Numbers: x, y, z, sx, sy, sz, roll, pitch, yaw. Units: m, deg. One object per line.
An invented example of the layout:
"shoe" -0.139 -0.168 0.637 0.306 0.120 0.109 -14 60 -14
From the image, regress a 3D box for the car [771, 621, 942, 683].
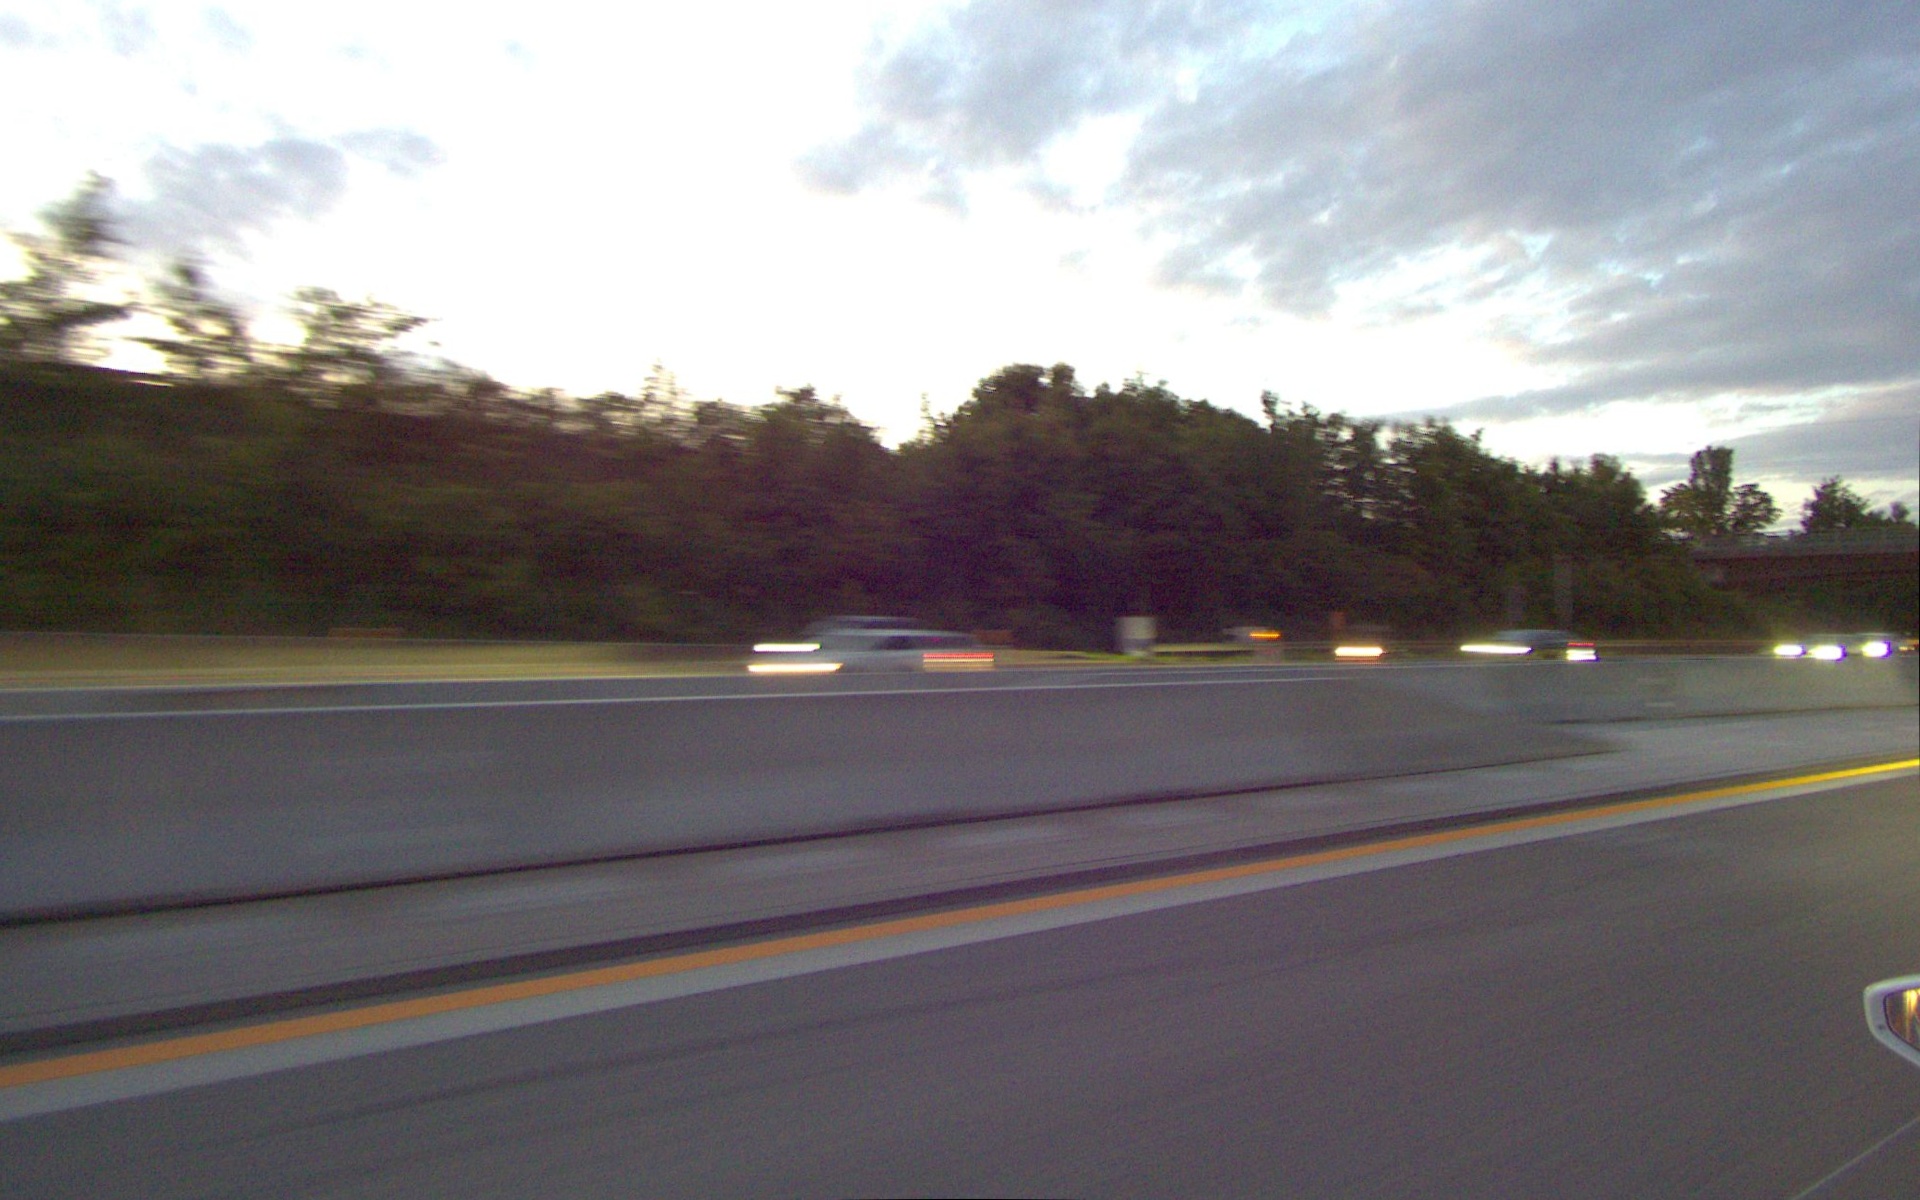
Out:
"car" -3.031 1.524 29.706 4.693 1.660 1.796 2 0 -29

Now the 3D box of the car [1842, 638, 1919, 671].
"car" 49.866 2.950 54.305 4.970 1.625 1.585 2 0 -28

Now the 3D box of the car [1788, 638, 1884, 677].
"car" 40.215 2.628 46.098 4.832 1.660 1.729 2 0 -29

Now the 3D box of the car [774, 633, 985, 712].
"car" -1.874 1.680 23.842 4.693 1.660 1.672 2 0 -29

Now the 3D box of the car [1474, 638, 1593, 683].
"car" 23.069 2.420 40.327 5.108 1.660 1.729 2 0 -29

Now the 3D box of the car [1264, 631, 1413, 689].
"car" 12.125 1.903 32.111 4.693 1.660 1.796 2 0 -29
